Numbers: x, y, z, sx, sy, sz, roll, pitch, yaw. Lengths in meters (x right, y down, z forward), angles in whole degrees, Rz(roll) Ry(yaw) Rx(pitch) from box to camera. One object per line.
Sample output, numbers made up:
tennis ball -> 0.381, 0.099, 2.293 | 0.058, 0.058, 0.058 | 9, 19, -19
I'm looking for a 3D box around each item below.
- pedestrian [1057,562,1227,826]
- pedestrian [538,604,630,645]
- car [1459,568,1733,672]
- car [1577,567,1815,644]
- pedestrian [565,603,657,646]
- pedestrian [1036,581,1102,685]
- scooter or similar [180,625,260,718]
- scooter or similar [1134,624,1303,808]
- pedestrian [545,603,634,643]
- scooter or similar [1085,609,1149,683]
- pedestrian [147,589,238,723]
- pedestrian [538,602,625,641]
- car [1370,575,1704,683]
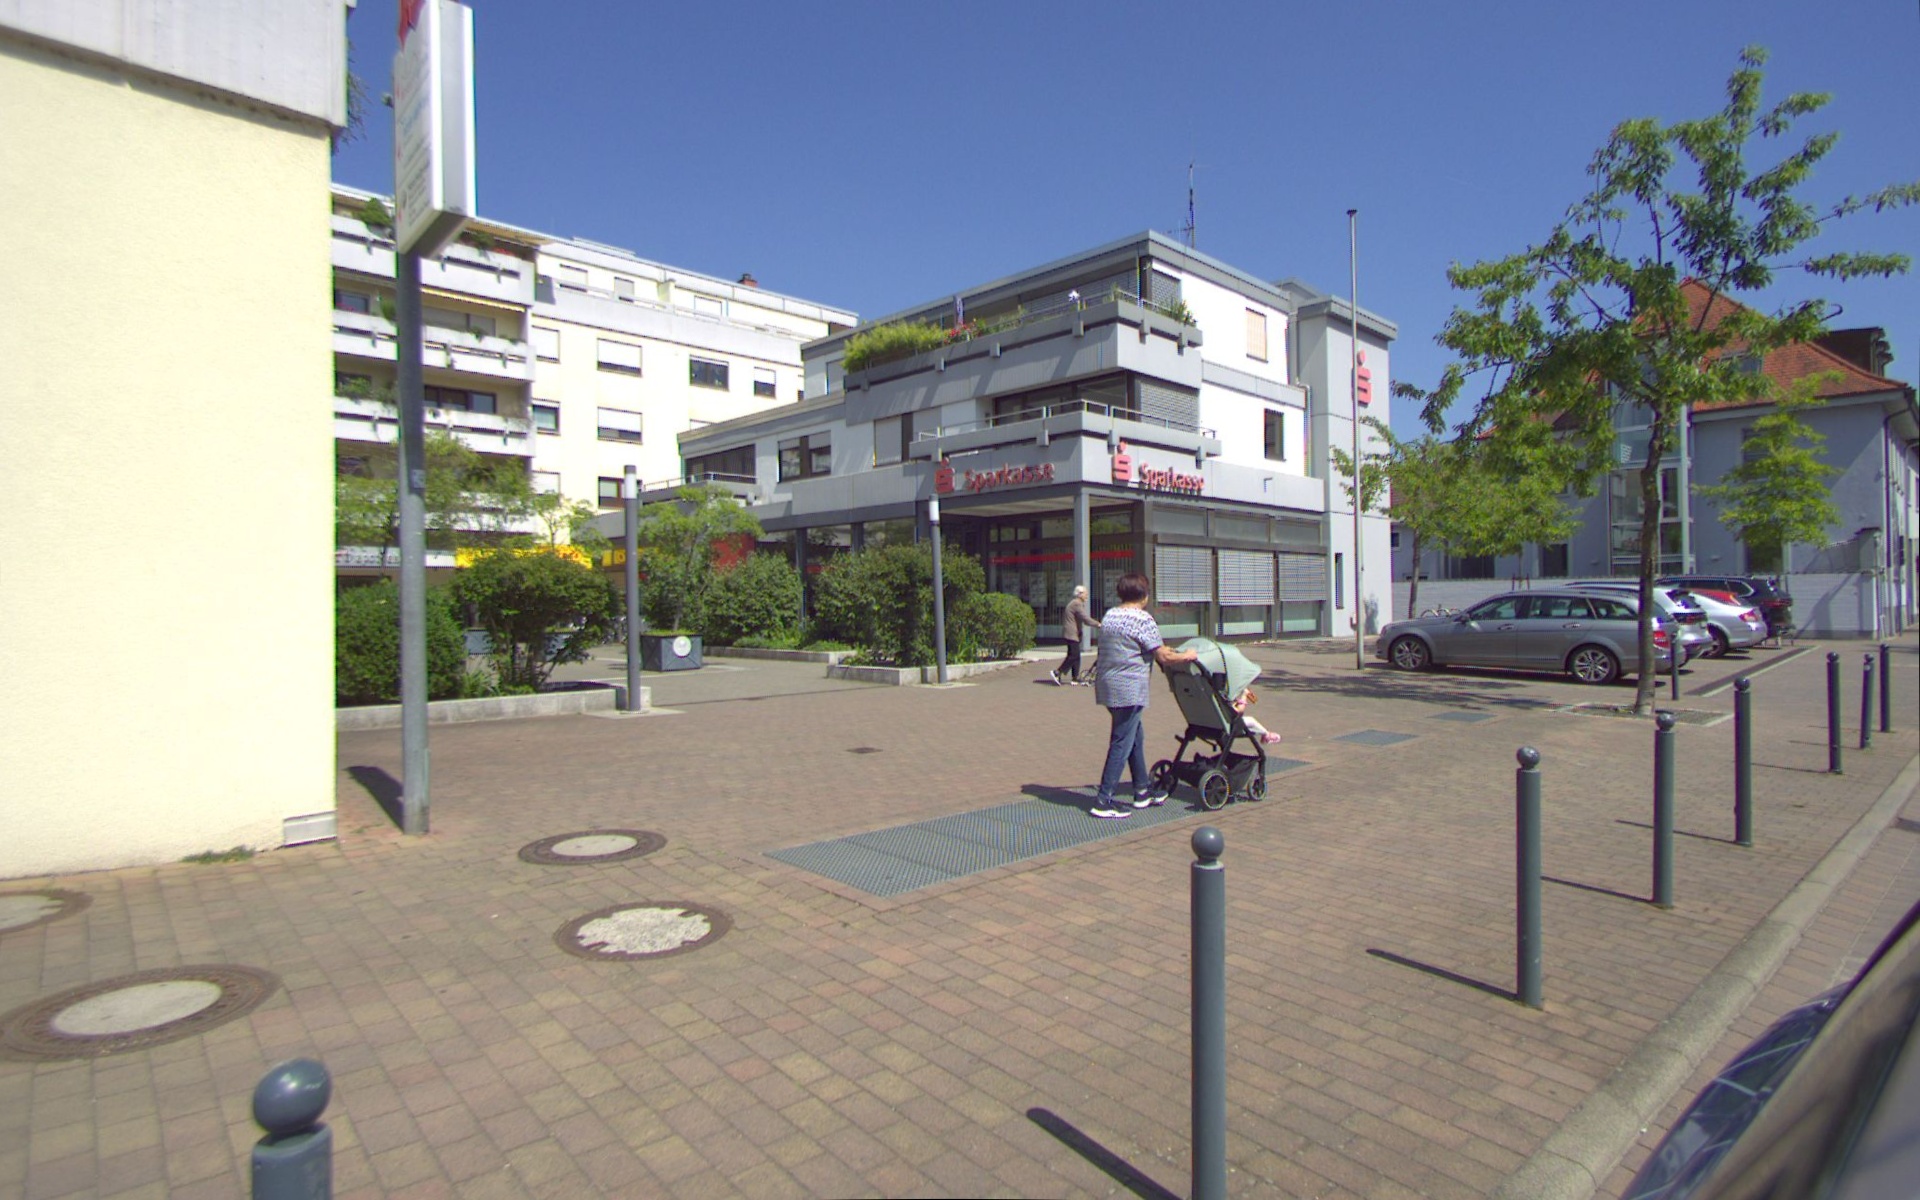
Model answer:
pedestrian -> 1.157, 0.552, 6.449 | 0.786, 1.540, 0.705 | 0, -1, -38
pedestrian -> -12.441, 0.787, 33.573 | 0.982, 1.290, 2.736 | -1, 0, 40
car -> 11.744, 0.268, 18.873 | 1.827, 1.592, 3.990 | -2, 4, -45
car -> 18.728, 0.080, 25.911 | 2.112, 1.793, 4.635 | 0, 1, -43
pedestrian -> -11.356, 0.771, 33.030 | 0.982, 1.290, 2.736 | -1, 0, 40
pedestrian -> 1.639, 0.483, 15.296 | 0.794, 1.516, 0.670 | -1, -1, -12
scooter or similar -> -9.248, 0.870, 12.672 | 0.578, 1.088, 0.807 | -1, 0, -17
scooter or similar -> 1.778, 0.742, 6.928 | 1.025, 1.120, 0.627 | 0, -1, -39
pedestrian -> -12.690, 0.756, 34.752 | 0.982, 1.290, 2.736 | -1, 0, 40
scooter or similar -> 2.391, 0.693, 15.450 | 0.788, 1.088, 0.592 | -1, 0, -11
pedestrian -> -9.013, 0.630, 11.919 | 0.606, 1.516, 0.813 | -1, 0, -17
pedestrian -> -13.207, 0.725, 35.425 | 0.982, 1.290, 2.736 | -1, 0, 40
car -> 9.528, 0.370, 16.967 | 4.575, 1.531, 1.887 | 2, 2, 43
